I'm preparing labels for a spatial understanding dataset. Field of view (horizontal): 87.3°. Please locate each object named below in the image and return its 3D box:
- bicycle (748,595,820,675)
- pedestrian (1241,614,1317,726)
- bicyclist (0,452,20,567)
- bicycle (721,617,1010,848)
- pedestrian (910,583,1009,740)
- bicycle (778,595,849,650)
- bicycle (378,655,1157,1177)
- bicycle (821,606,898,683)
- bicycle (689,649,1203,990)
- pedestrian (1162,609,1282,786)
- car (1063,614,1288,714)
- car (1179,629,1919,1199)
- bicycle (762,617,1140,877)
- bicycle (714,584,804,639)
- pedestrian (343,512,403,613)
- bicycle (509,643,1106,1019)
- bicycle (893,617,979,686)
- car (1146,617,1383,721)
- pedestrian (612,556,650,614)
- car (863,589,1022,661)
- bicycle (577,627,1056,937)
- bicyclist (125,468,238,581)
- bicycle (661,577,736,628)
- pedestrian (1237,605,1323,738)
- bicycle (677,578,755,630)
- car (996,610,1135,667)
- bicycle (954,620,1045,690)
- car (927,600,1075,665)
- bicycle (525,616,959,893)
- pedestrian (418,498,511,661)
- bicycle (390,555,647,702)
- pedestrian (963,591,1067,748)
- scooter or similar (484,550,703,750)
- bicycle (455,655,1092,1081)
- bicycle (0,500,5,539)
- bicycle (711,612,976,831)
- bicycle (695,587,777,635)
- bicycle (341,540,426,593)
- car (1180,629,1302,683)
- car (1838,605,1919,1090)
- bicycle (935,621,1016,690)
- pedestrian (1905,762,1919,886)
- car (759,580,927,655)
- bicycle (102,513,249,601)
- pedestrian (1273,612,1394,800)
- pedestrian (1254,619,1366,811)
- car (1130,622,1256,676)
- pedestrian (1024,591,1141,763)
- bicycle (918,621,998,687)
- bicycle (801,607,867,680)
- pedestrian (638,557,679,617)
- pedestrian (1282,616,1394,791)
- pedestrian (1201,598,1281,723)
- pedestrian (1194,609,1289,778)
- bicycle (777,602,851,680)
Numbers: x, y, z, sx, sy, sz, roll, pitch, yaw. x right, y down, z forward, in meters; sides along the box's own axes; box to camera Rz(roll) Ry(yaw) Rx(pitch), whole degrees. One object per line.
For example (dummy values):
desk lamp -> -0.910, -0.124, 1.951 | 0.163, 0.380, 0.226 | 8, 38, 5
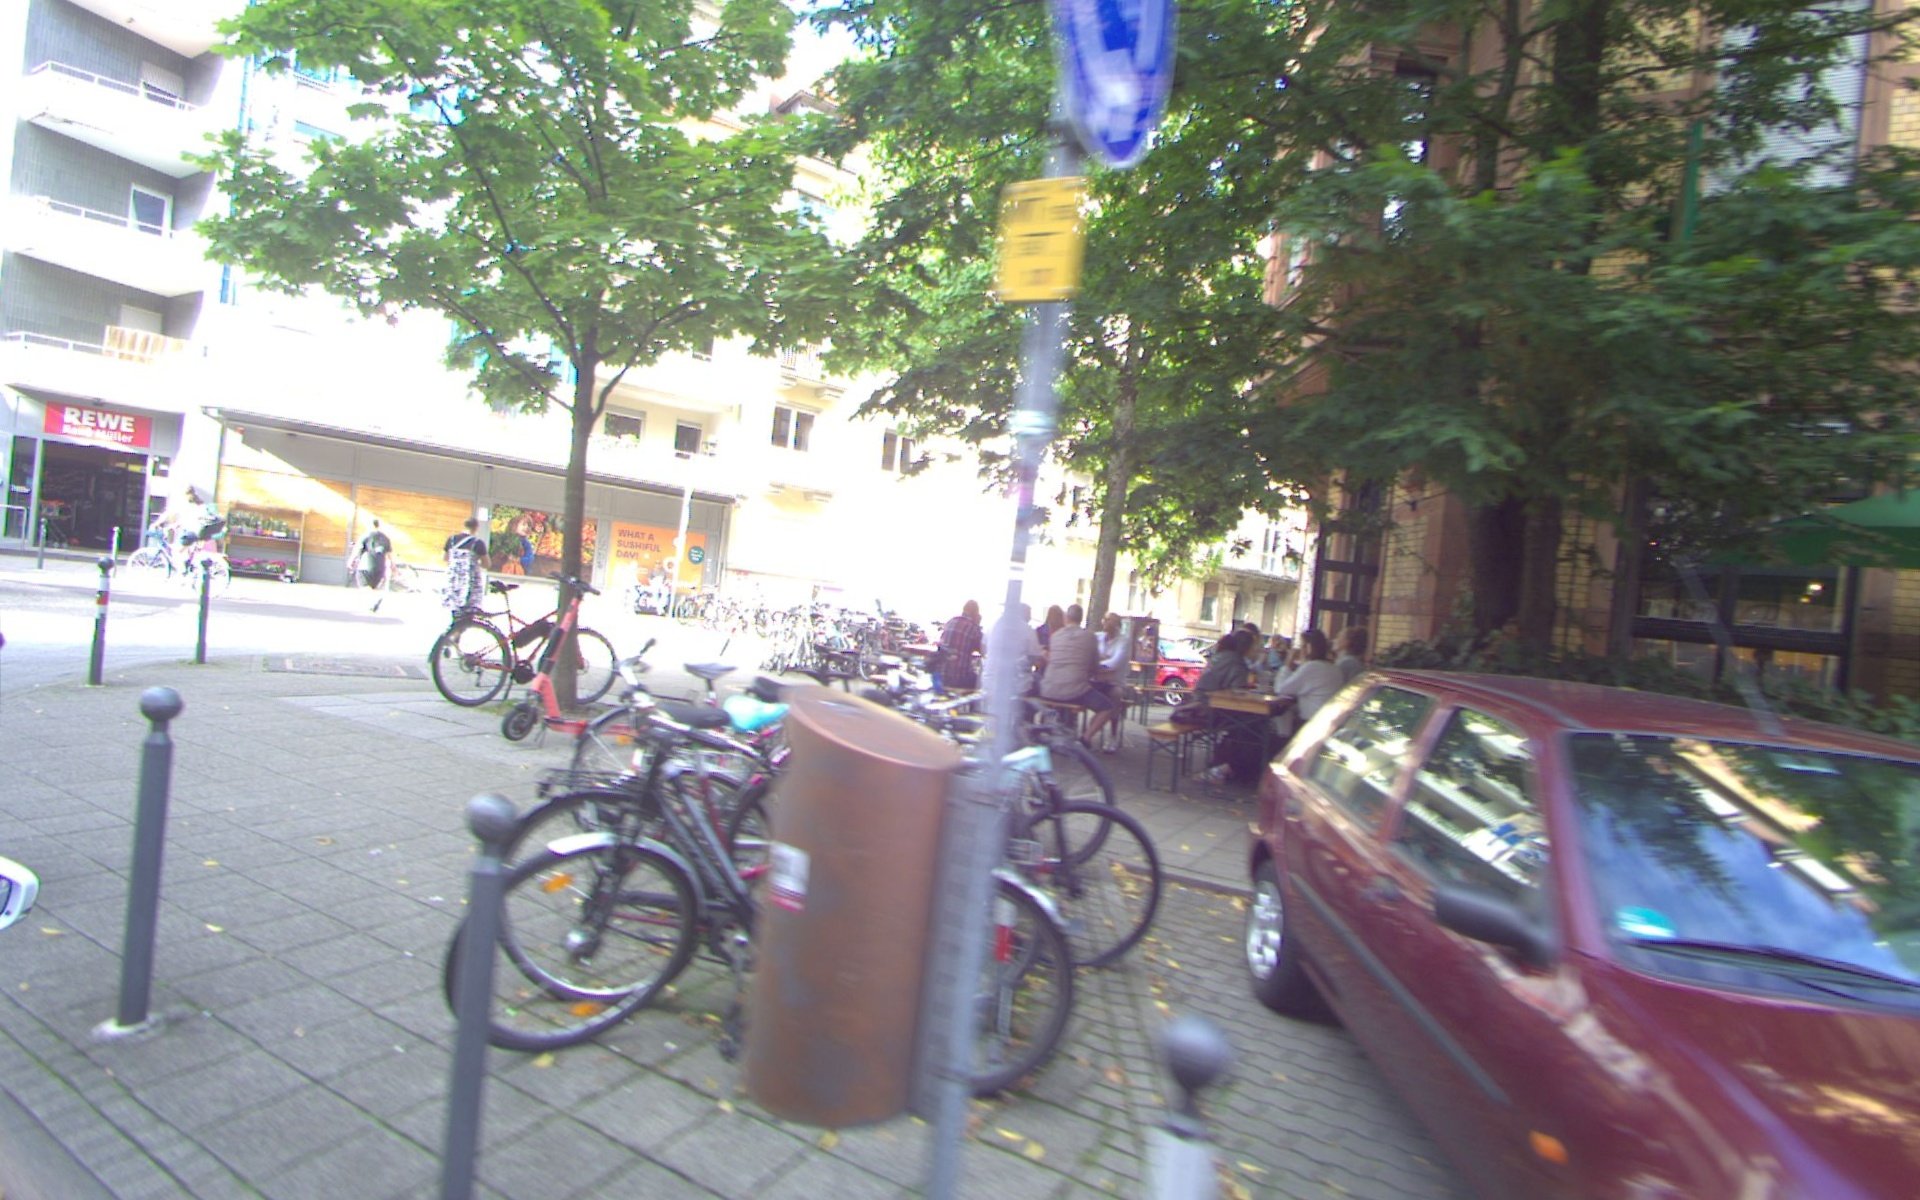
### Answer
bicycle -> -2.819, 0.525, 15.962 | 0.424, 1.170, 1.985 | 6, -2, -28
pedestrian -> 4.804, 1.055, 15.156 | 0.693, 1.584, 0.631 | 6, 1, -32
bicyclist -> -13.211, -1.259, 13.340 | 0.930, 1.501, 0.738 | 7, -1, -42
bicycle -> -0.496, 0.696, 5.399 | 1.429, 1.054, 0.336 | 5, 4, 1
pedestrian -> 0.006, 0.586, 9.737 | 0.539, 1.410, 0.758 | 7, 1, 26
bicycle -> -3.582, 0.565, 24.720 | 1.553, 1.154, 0.568 | 9, -2, -44
bicycle -> -0.478, 0.786, 2.709 | 1.822, 1.054, 0.549 | 5, 4, 1
bicycle -> -1.698, 0.706, 16.655 | 0.475, 1.103, 2.072 | 6, -1, -26
bicycle -> -0.064, 0.817, 3.891 | 1.822, 1.054, 0.347 | 6, 4, 3
pedestrian -> 2.274, 0.820, 8.703 | 0.745, 1.375, 0.673 | 7, 1, 26
car -> 4.110, 1.201, 19.760 | 1.981, 1.404, 3.963 | 6, 0, -34
car -> 1.936, 0.950, 2.946 | 1.736, 1.475, 3.945 | 7, 0, 3
bicycle -> -0.049, 0.724, 5.089 | 1.764, 1.089, 0.354 | 5, 4, 1
bicycle -> -4.975, 0.314, 25.081 | 0.740, 1.155, 2.320 | 7, 0, 31
pedestrian -> -10.800, -0.685, 18.499 | 0.765, 1.761, 0.627 | 7, 1, 43
bicycle -> -0.535, 0.790, 3.598 | 1.980, 1.054, 0.347 | 6, 4, 3
bicycle -> -0.430, 0.869, 17.285 | 0.477, 1.024, 1.601 | 5, -1, -42
car -> 6.290, 1.404, 21.265 | 1.982, 1.571, 4.383 | 6, 0, -36
pedestrian -> -9.055, -0.418, 27.678 | 0.745, 1.498, 0.581 | 5, 1, -34
car -> -0.486, 0.713, 28.644 | 3.927, 1.551, 1.999 | 7, 0, 23
bicycle -> -0.586, 0.745, 4.287 | 1.870, 1.054, 0.444 | 5, 4, 1
bicyclist -> -12.951, -1.235, 16.764 | 0.997, 1.689, 0.944 | 6, 1, 8
bicycle -> -6.751, 0.082, 26.086 | 0.428, 1.155, 2.081 | 7, 1, 30
pedestrian -> 4.049, 0.892, 12.768 | 0.660, 1.584, 0.622 | 6, 1, -13
bicycle -> -6.244, 0.122, 25.875 | 0.477, 1.155, 2.141 | 7, 1, 30
car -> 3.393, 1.227, 32.257 | 3.927, 1.337, 1.999 | 7, 0, 23
bicycle -> 0.690, 0.984, 18.247 | 0.424, 1.094, 1.830 | 5, -1, -41
car -> 1.253, 0.982, 30.506 | 3.926, 1.440, 1.999 | 7, 0, 22
bicycle -> -0.993, 0.701, 4.729 | 1.885, 1.054, 0.389 | 5, 4, 1
pedestrian -> -5.861, -0.236, 11.944 | 0.773, 1.802, 0.789 | 6, 1, -21
bicycle -> -3.790, 0.286, 8.805 | 0.642, 1.108, 1.925 | 7, 0, 35
pedestrian -> 0.529, 0.643, 9.498 | 0.586, 1.359, 0.758 | 7, 1, 26
scooter or similar -> -2.619, 0.367, 7.209 | 1.237, 1.290, 0.658 | 6, 1, -35
bicycle -> -0.562, 0.809, 3.206 | 1.822, 1.054, 0.460 | 5, 4, 1
bicycle -> -13.366, -0.810, 13.441 | 0.663, 1.192, 2.468 | 7, -1, -41
bicycle -> -0.644, 0.674, 5.780 | 1.360, 1.053, 0.451 | 7, 1, 0
bicycle -> -5.680, 0.287, 25.602 | 0.740, 1.045, 2.058 | 7, 1, 31
bicycle -> -13.906, -0.800, 24.302 | 1.661, 1.063, 0.456 | 7, 1, -20
car -> 10.352, 2.048, 37.029 | 3.928, 1.460, 1.998 | 7, 0, 25
car -> 4.115, 0.997, 1.527 | 1.787, 1.667, 4.352 | 6, 2, 5
bicycle -> 0.254, 0.970, 17.908 | 0.338, 1.024, 1.601 | 5, 1, -42
pedestrian -> 7.903, 1.493, 7.779 | 0.560, 1.590, 0.629 | 7, 1, 26
car -> -3.141, 0.486, 27.186 | 3.927, 1.529, 1.999 | 7, 0, 23
bicycle -> -13.085, -0.703, 16.802 | 1.937, 1.215, 0.712 | 7, 1, 9
pedestrian -> 3.155, 0.867, 8.486 | 0.745, 1.424, 0.673 | 7, 1, 26
pedestrian -> 2.755, 0.876, 7.900 | 0.618, 1.368, 0.671 | 7, 1, 26
car -> 8.205, 1.708, 35.372 | 3.927, 1.349, 1.999 | 7, 0, 23
pedestrian -> 1.131, 0.687, 9.204 | 0.690, 1.424, 0.798 | 7, 1, 26
bicycle -> -0.051, 0.935, 17.597 | 0.338, 1.024, 1.612 | 5, -1, -42
bicycle -> -2.097, 0.689, 16.522 | 0.337, 1.066, 2.029 | 6, -1, -26
pedestrian -> -8.486, -0.371, 28.313 | 0.742, 1.568, 0.725 | 8, 0, -33
pedestrian -> 3.419, 0.907, 9.081 | 0.745, 1.424, 0.673 | 7, 1, 26
pedestrian -> 3.775, 0.804, 13.559 | 0.680, 1.584, 0.603 | 6, 1, -11
pedestrian -> 2.588, 0.838, 9.226 | 0.626, 1.424, 0.574 | 7, 1, 23
bicycle -> -2.374, 0.631, 16.185 | 0.475, 1.116, 2.015 | 6, -2, -26
